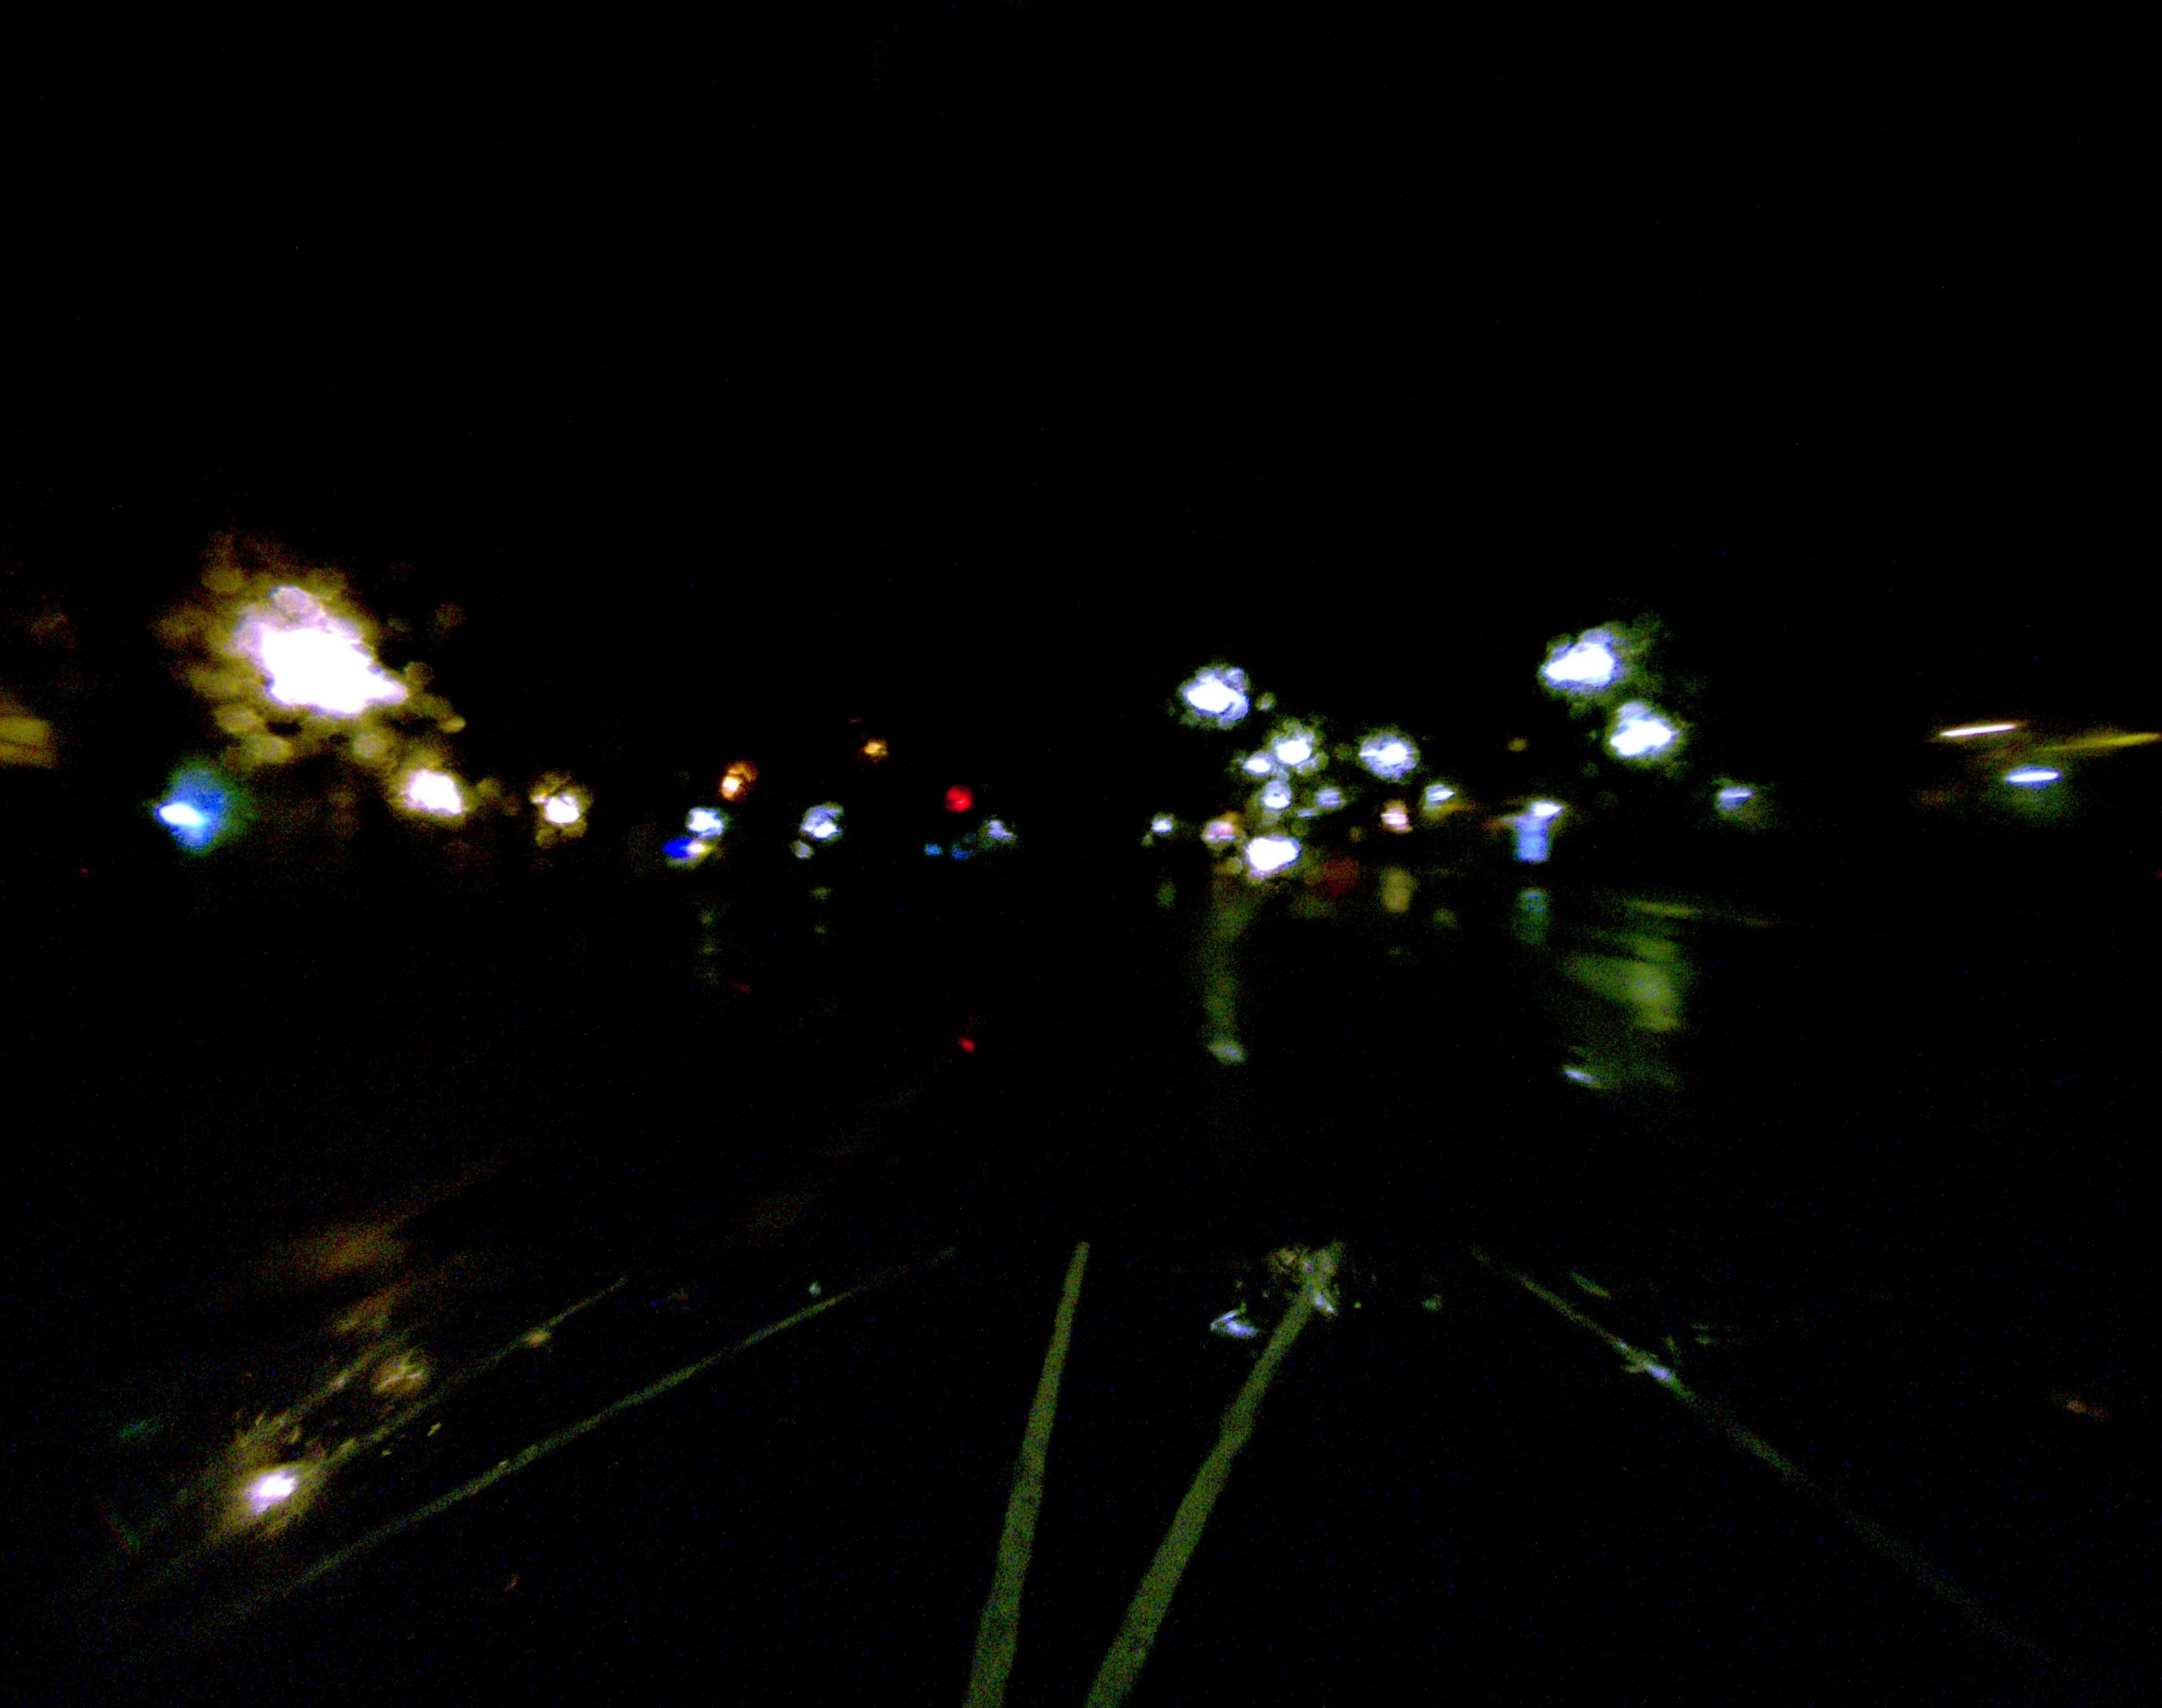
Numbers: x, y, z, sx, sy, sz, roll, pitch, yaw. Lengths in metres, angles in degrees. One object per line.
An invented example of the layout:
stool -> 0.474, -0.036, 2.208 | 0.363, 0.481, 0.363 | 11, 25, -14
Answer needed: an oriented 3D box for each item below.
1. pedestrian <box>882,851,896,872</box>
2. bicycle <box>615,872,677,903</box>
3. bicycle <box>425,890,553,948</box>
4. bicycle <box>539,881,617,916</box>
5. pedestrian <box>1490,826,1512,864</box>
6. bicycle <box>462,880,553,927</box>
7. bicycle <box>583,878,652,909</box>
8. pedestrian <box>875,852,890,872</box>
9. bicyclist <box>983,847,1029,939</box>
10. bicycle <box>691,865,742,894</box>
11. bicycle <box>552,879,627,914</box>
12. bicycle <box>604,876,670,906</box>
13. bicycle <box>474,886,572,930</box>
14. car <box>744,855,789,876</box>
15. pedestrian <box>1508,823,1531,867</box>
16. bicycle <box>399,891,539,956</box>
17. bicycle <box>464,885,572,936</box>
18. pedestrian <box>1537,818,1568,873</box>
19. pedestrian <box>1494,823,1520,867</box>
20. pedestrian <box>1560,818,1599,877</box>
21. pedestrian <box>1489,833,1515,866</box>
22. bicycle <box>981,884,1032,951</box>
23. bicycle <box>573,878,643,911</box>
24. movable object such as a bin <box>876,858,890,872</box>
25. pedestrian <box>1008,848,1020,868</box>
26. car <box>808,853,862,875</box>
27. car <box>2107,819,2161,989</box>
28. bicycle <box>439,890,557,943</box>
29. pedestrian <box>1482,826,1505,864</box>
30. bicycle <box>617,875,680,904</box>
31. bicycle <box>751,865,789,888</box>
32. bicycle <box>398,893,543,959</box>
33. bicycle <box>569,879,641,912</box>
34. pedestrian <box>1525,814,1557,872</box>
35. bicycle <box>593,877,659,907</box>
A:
pedestrian -> -16.005, 0.616, 63.287 | 0.841, 1.628, 0.635 | -4, 2, 38
bicycle -> -16.994, 1.309, 29.707 | 1.931, 1.108, 0.730 | -2, 1, -1
bicycle -> -12.186, 1.324, 15.735 | 1.978, 1.001, 0.641 | -2, 2, -30
bicycle -> -15.967, 1.411, 24.139 | 1.973, 1.001, 0.642 | -2, 1, -1
pedestrian -> 17.079, -0.363, 30.897 | 0.479, 1.519, 0.586 | -5, 2, -4
bicycle -> -15.405, 1.311, 20.471 | 1.828, 1.081, 0.719 | -3, 2, -29
bicycle -> -16.374, 1.384, 26.874 | 1.973, 1.001, 0.642 | -2, 1, -1
pedestrian -> -16.404, 0.653, 62.765 | 0.872, 1.628, 0.635 | -4, 2, 38
bicyclist -> -1.315, 0.666, 13.411 | 0.572, 1.539, 0.816 | -4, 1, 3
bicycle -> -16.611, 1.166, 34.649 | 1.874, 1.210, 0.730 | -2, 1, -1
bicycle -> -16.043, 1.396, 24.840 | 1.973, 1.028, 0.642 | -2, 1, -1
bicycle -> -16.537, 1.370, 28.323 | 1.973, 1.001, 0.688 | -2, 1, -1
bicycle -> -14.318, 1.384, 19.528 | 1.973, 1.001, 0.642 | -2, 1, -1
car -> -29.036, 1.076, 70.071 | 4.275, 1.694, 1.884 | -2, 3, 38
pedestrian -> 16.546, -0.338, 28.693 | 0.400, 1.620, 0.532 | -6, 2, -30
bicycle -> -11.672, 1.306, 14.583 | 1.978, 1.029, 0.641 | -2, 2, -30
bicycle -> -13.515, 1.331, 18.314 | 1.978, 1.059, 0.641 | -3, 2, -30
pedestrian -> 15.858, -0.294, 25.570 | 0.716, 1.764, 0.672 | -4, 2, 24
pedestrian -> 16.398, -0.335, 29.278 | 0.585, 1.642, 0.558 | -6, 2, -30
pedestrian -> 15.396, -0.210, 23.483 | 0.670, 1.764, 0.717 | -5, 2, 4
pedestrian -> 16.671, -0.186, 30.084 | 0.585, 1.246, 0.623 | -6, 2, -30
bicycle -> -1.288, 1.084, 13.422 | 0.572, 0.964, 1.780 | -4, 1, 3
bicycle -> -16.313, 1.390, 26.225 | 1.973, 1.001, 0.642 | -2, 1, -1
movable object such as a bin -> -16.642, 0.917, 63.822 | 0.921, 1.109, 0.635 | -4, 2, 38
pedestrian -> -5.211, 0.326, 58.806 | 0.768, 1.485, 0.634 | -5, 2, -9
car -> -20.625, 0.819, 63.718 | 4.484, 1.585, 1.892 | -2, 3, 36
car -> 11.260, 0.396, 5.866 | 3.592, 1.507, 1.926 | -3, 2, 12
bicycle -> -13.006, 1.368, 17.034 | 1.978, 1.001, 0.641 | -2, 2, -30
pedestrian -> 17.091, -0.381, 31.474 | 0.511, 1.539, 0.575 | -5, 2, -4
bicycle -> -16.585, 1.359, 29.182 | 1.931, 0.982, 0.730 | -2, 1, -1
bicycle -> -15.723, 1.140, 38.412 | 1.624, 1.076, 0.564 | -3, 4, -2
bicycle -> -11.201, 1.304, 14.033 | 1.978, 1.001, 0.641 | -2, 2, -30
bicycle -> -16.006, 1.387, 25.587 | 1.973, 1.001, 0.642 | -2, 1, -1
pedestrian -> 16.440, -0.397, 27.182 | 0.608, 1.975, 0.859 | -5, 2, 11
bicycle -> -16.517, 1.379, 27.607 | 1.973, 1.001, 0.642 | -2, 1, -1
